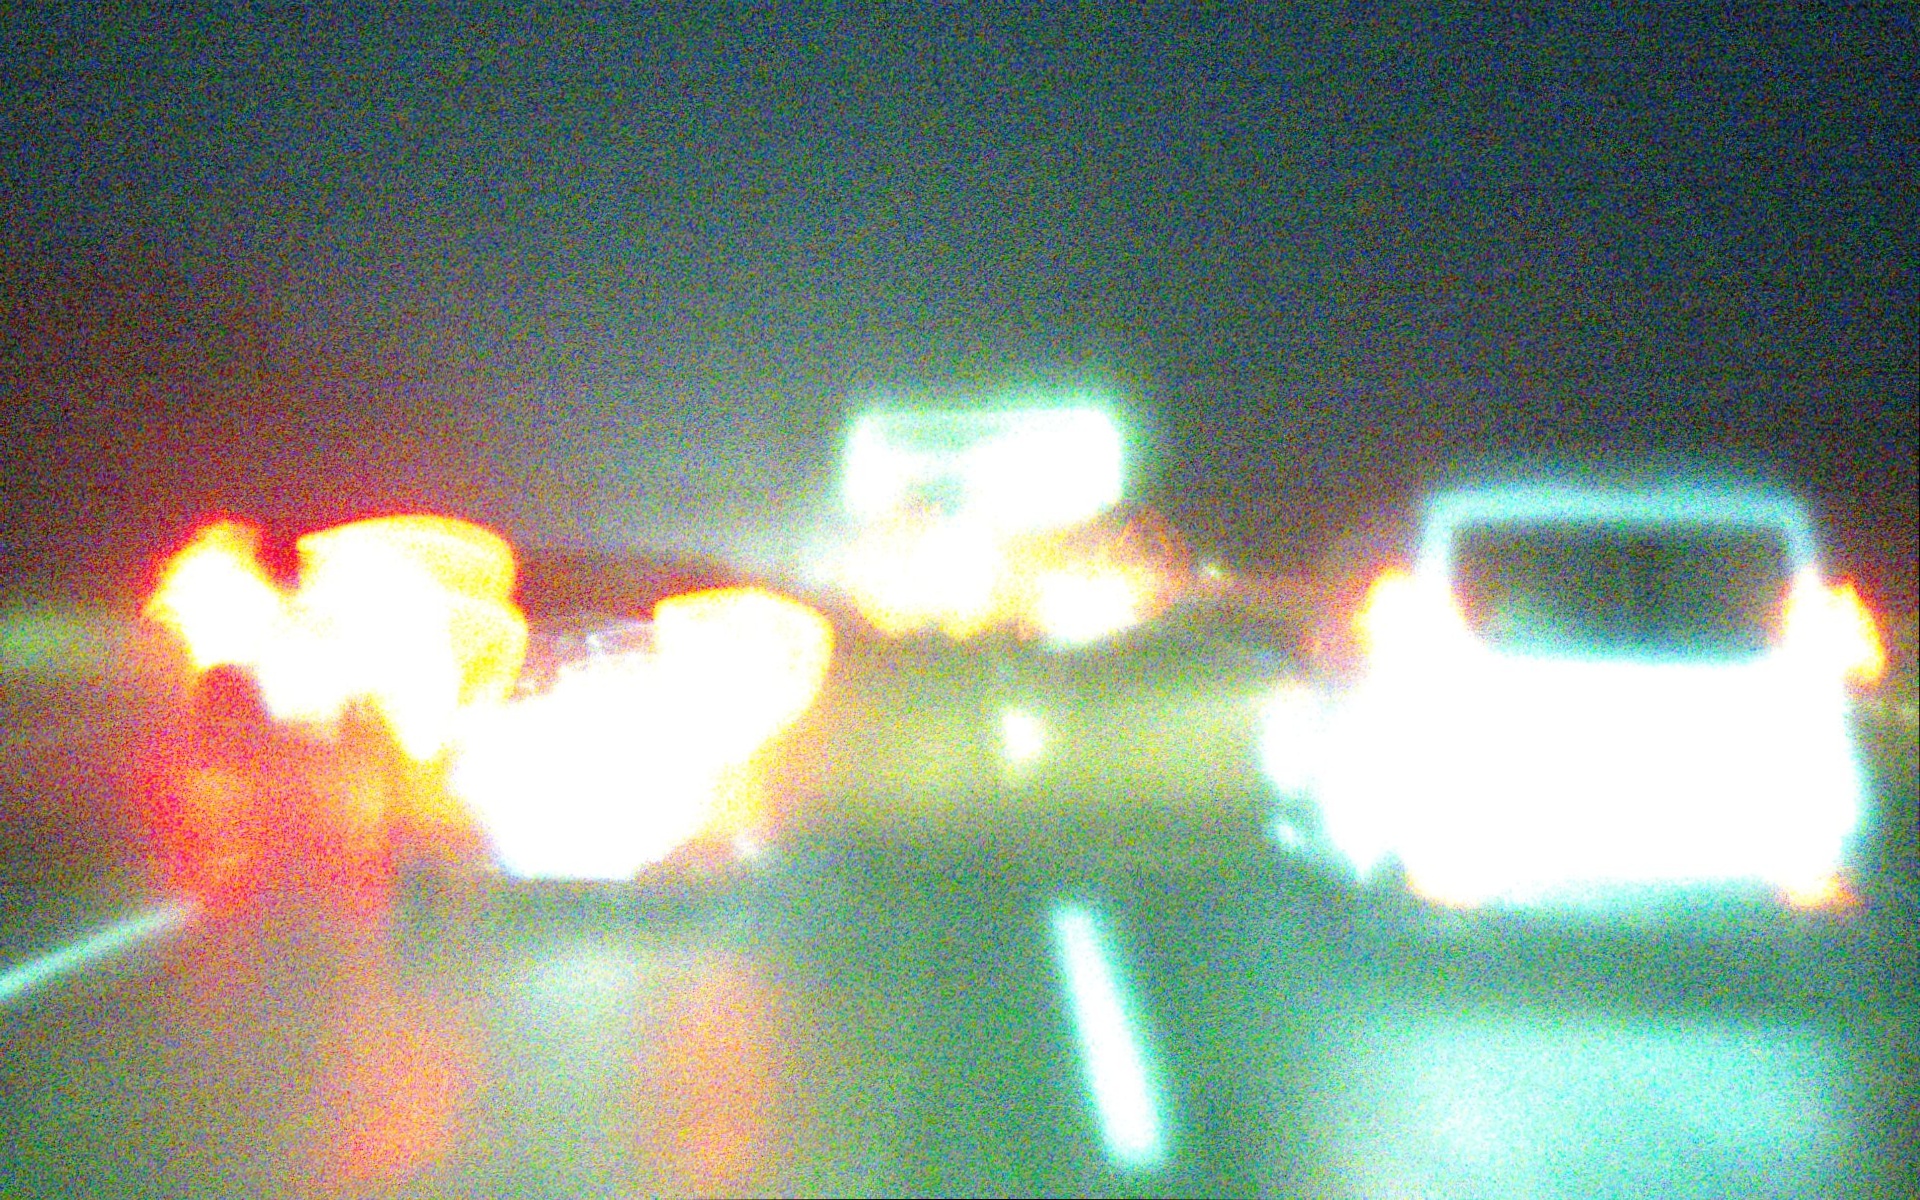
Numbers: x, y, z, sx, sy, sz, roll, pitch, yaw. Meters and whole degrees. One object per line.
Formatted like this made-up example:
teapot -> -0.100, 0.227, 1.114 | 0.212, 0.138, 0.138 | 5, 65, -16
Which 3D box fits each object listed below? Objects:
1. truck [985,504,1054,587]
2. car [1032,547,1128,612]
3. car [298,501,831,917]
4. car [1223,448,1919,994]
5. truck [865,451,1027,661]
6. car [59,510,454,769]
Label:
truck -> 3.731, -3.410, 219.072 | 3.824, 4.898, 11.606 | -3, 0, 0
car -> 2.627, -0.462, 76.157 | 1.889, 1.349, 4.000 | 2, 1, -1
car -> -1.655, 0.427, 15.813 | 1.916, 1.589, 4.233 | -2, 0, 0
car -> 2.278, 0.360, 13.961 | 1.953, 1.786, 5.124 | -1, 1, -1
truck -> -0.418, -1.217, 99.409 | 4.167, 5.525, 13.074 | -2, 0, 0
car -> -5.362, 0.268, 26.884 | 1.993, 1.771, 4.887 | -2, 0, 0
